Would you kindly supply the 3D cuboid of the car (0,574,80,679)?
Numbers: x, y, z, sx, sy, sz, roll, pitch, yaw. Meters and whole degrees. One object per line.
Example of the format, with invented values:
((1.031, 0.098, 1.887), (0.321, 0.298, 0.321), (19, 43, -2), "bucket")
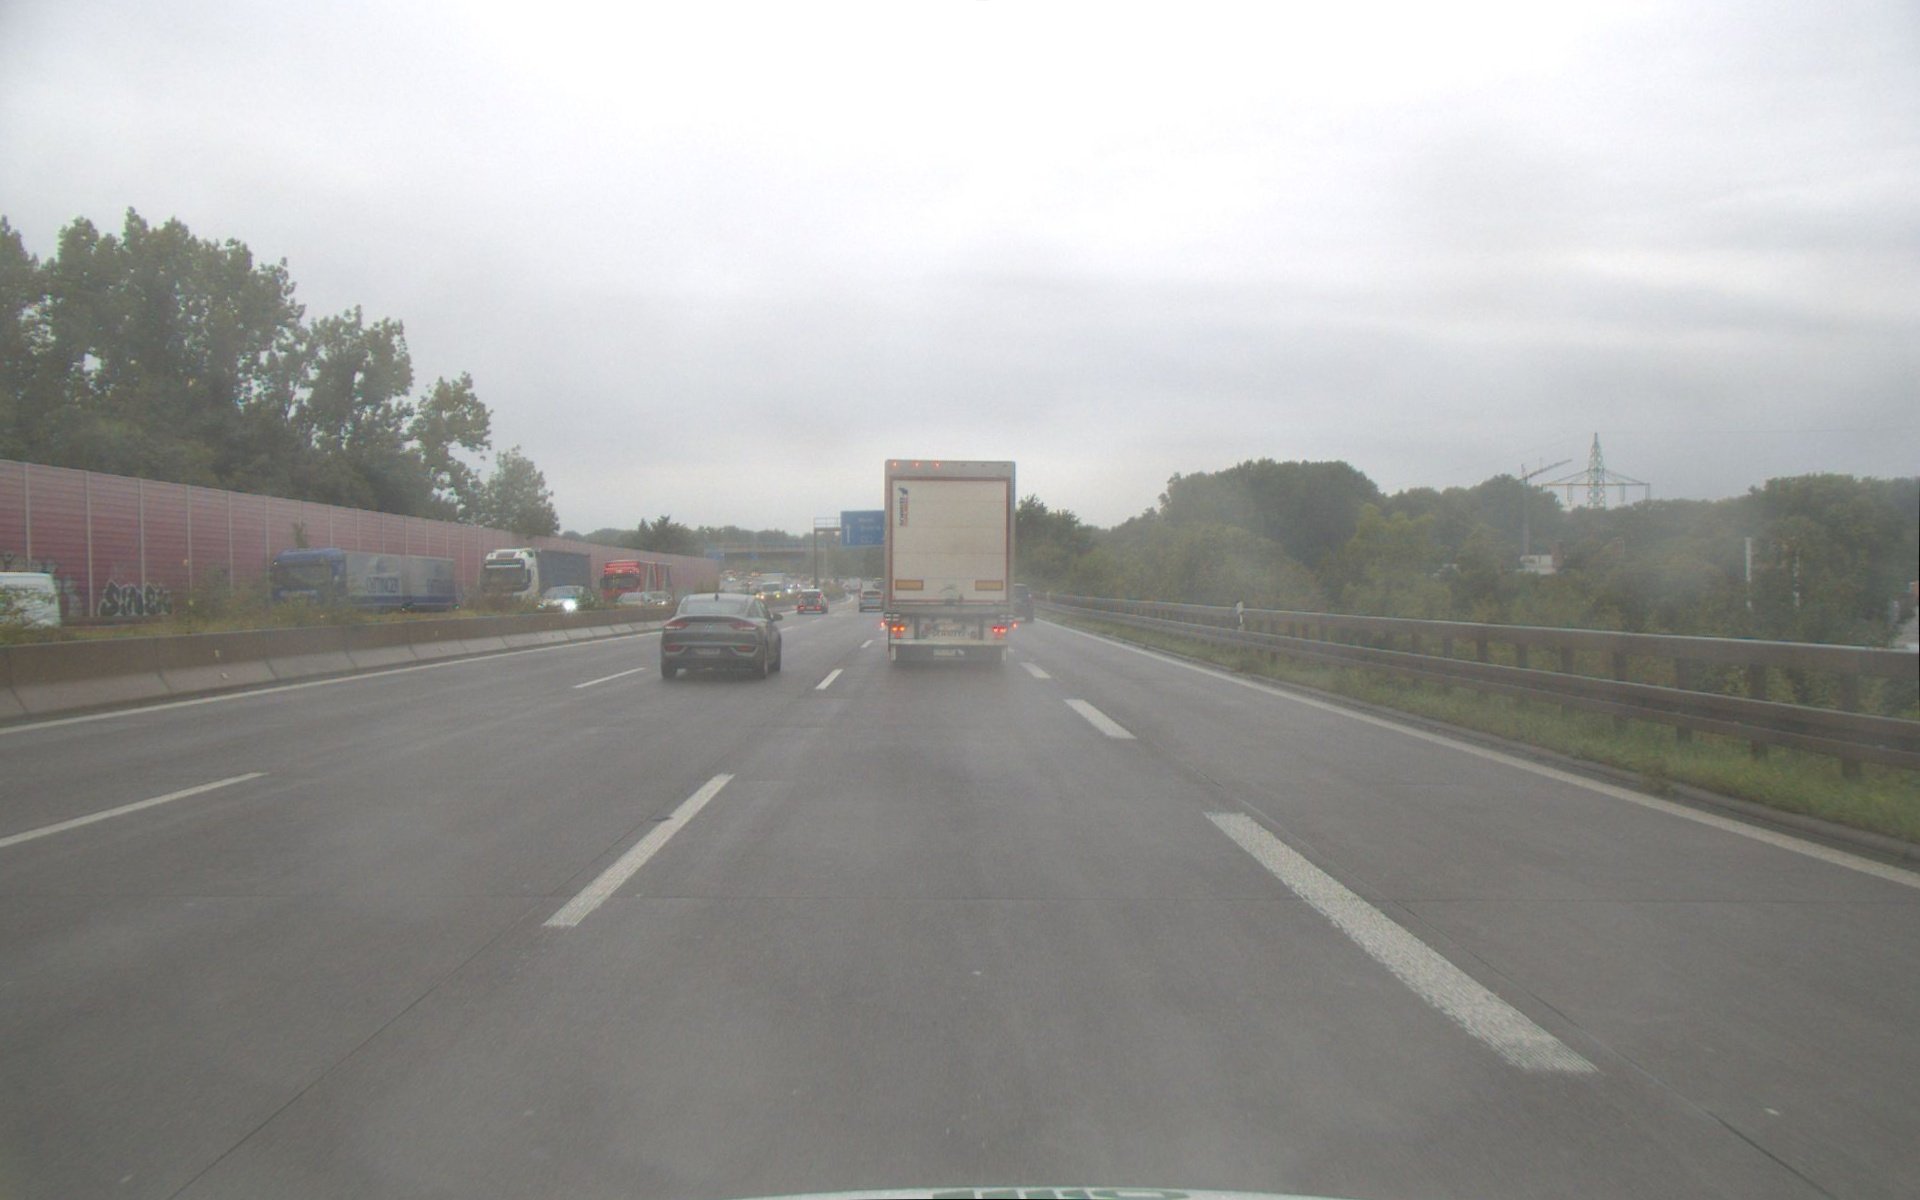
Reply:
((-19.794, 0.515, 32.806), (1.953, 2.049, 5.133), (0, 0, 0), "car")

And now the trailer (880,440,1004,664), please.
((-0.444, -1.073, 39.062), (2.295, 4.229, 14.826), (1, 1, -1), "trailer")

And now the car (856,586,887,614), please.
((-5.838, -0.017, 109.602), (1.855, 1.753, 3.999), (1, 0, -1), "car")

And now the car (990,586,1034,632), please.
((2.347, 0.378, 75.366), (1.858, 1.983, 4.000), (1, 0, 0), "car")

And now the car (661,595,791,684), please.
((-4.052, 0.639, 29.358), (1.690, 1.427, 4.827), (1, 0, -1), "car")

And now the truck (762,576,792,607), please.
((-17.732, -0.806, 160.884), (2.220, 2.878, 7.277), (1, 0, -2), "truck")

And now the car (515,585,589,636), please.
((-16.933, 0.393, 68.874), (1.953, 2.049, 4.790), (0, 0, -1), "car")

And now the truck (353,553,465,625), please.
((-27.882, -0.563, 84.129), (2.912, 3.409, 8.697), (1, 0, -2), "truck")

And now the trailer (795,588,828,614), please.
((-9.540, 0.033, 106.798), (1.778, 1.653, 4.567), (0, 1, -1), "trailer")

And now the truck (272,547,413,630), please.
((-27.607, -0.505, 74.549), (2.658, 3.409, 10.429), (1, 0, -2), "truck")

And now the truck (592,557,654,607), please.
((-24.964, -1.317, 122.975), (2.724, 3.551, 10.615), (0, 0, -1), "truck")

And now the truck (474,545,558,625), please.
((-23.896, -0.799, 89.342), (2.984, 4.098, 6.049), (1, 0, -2), "truck")
